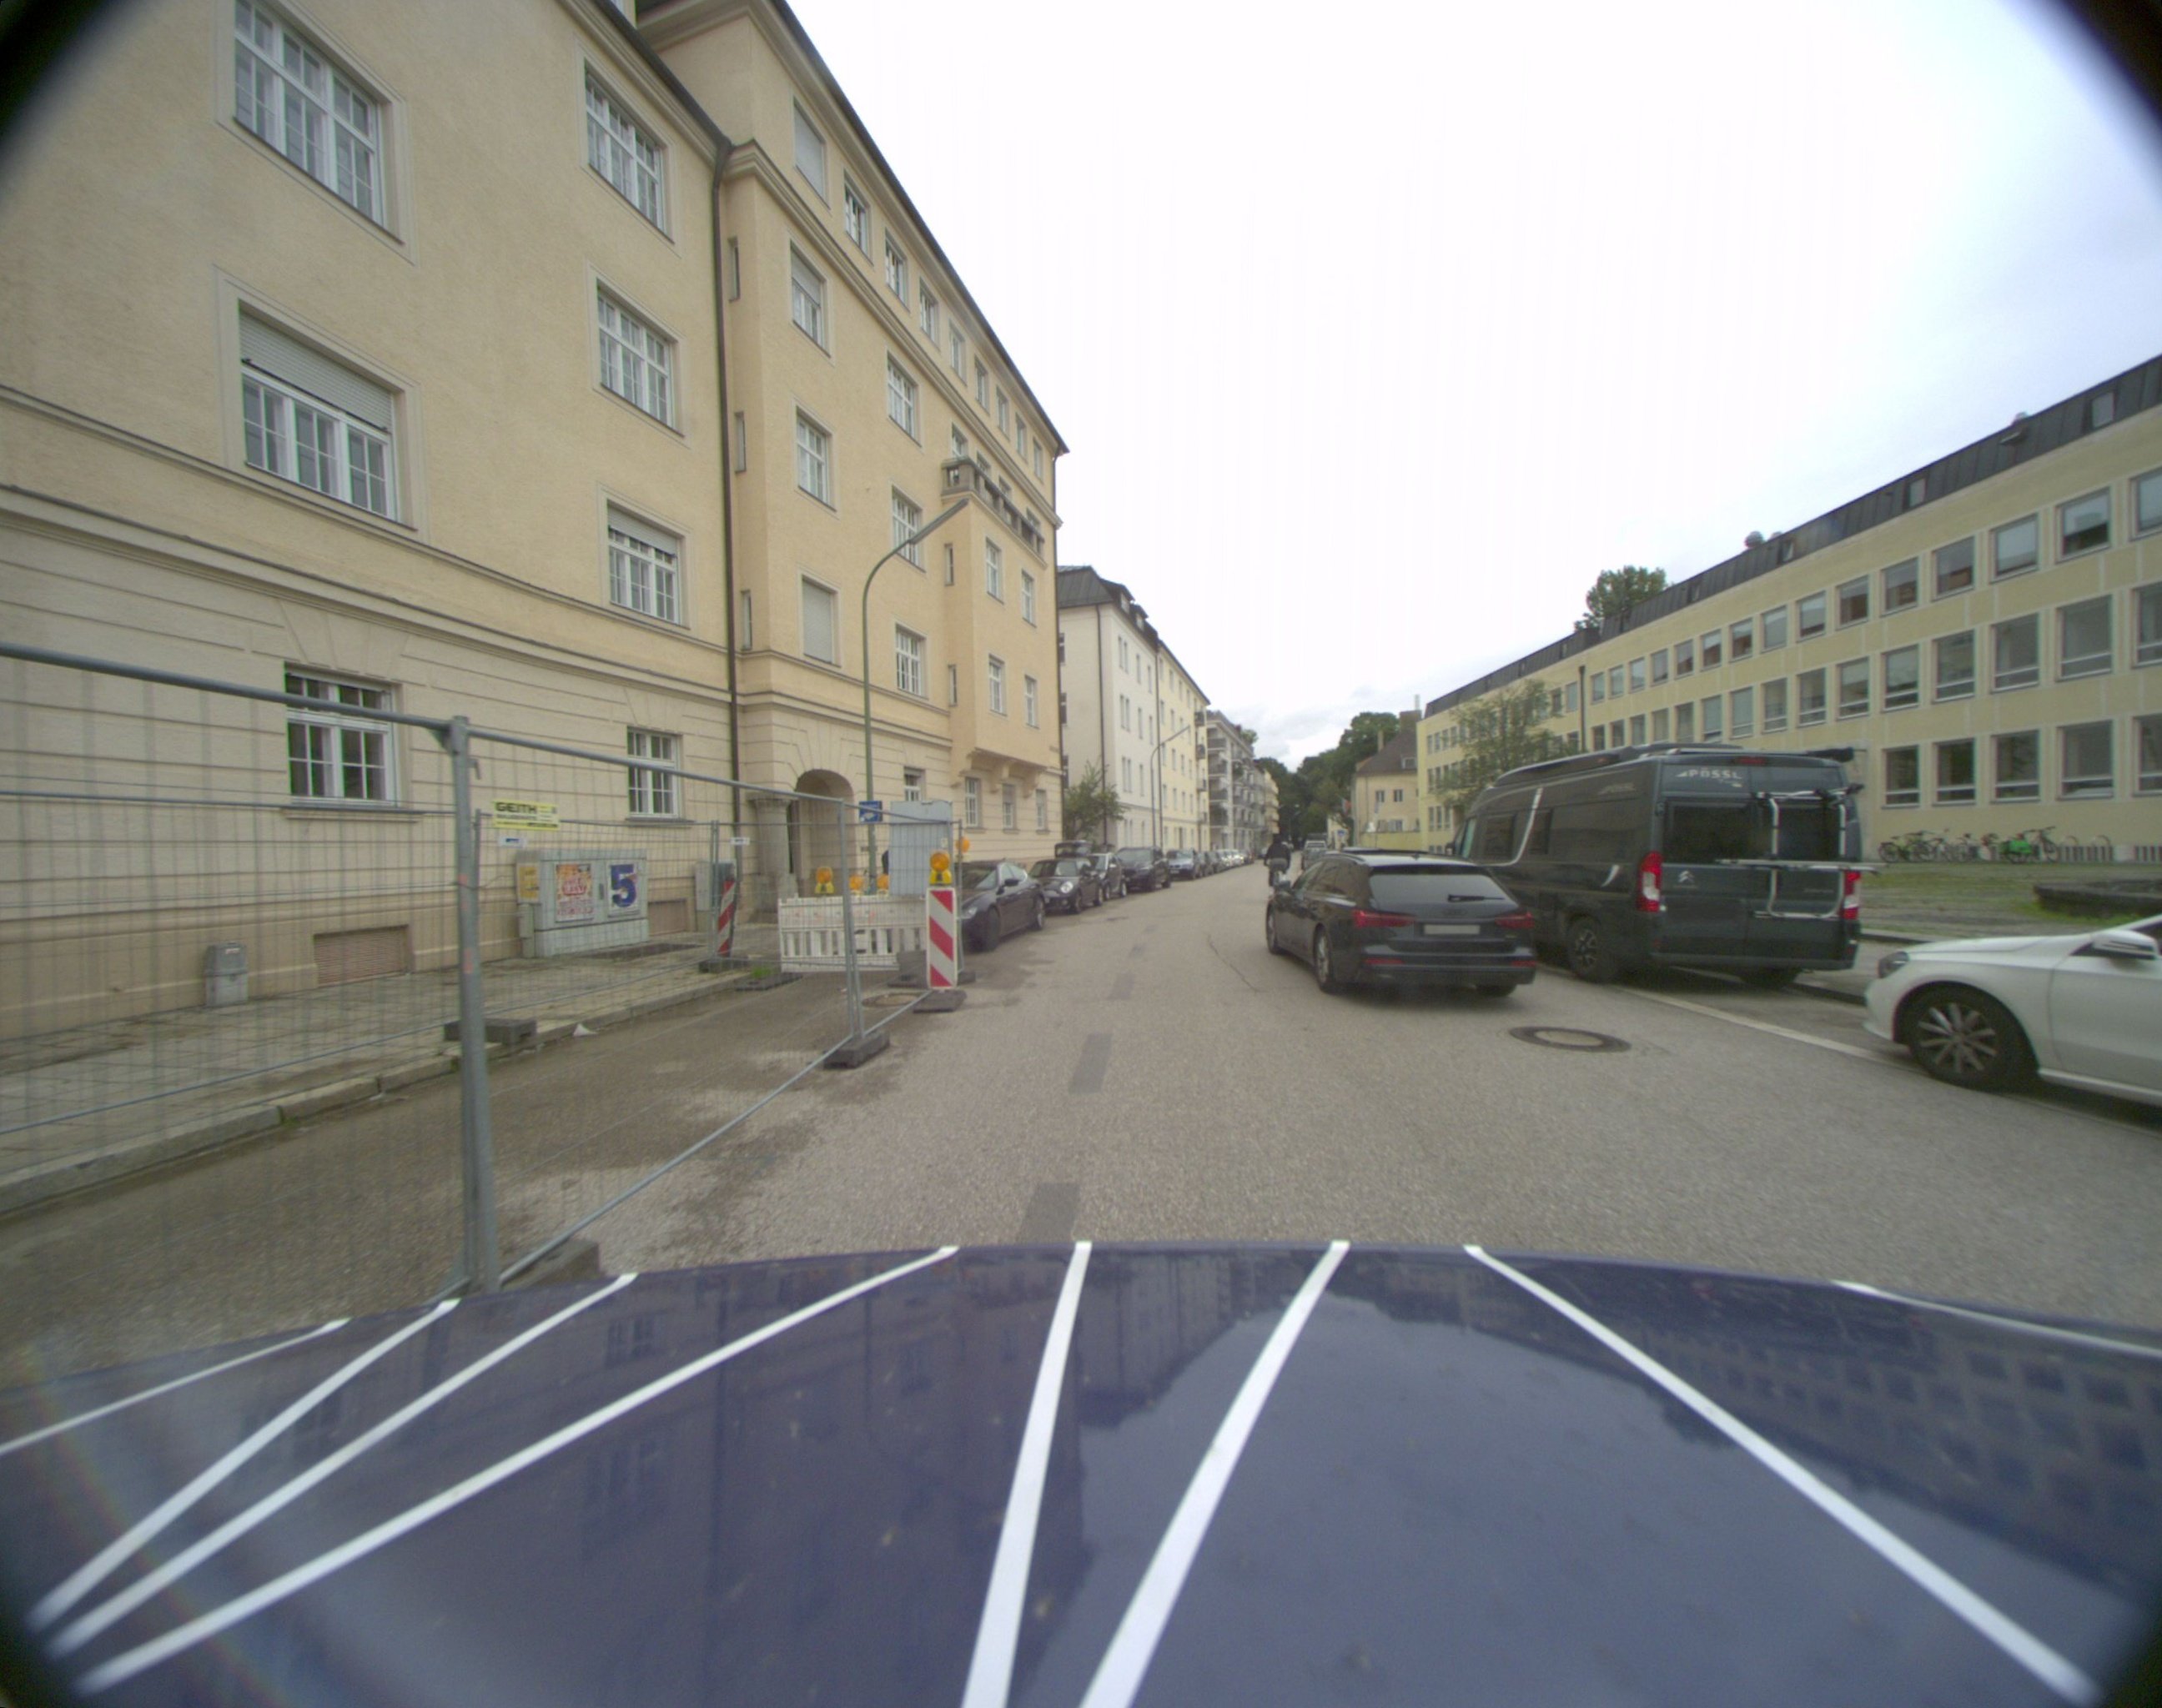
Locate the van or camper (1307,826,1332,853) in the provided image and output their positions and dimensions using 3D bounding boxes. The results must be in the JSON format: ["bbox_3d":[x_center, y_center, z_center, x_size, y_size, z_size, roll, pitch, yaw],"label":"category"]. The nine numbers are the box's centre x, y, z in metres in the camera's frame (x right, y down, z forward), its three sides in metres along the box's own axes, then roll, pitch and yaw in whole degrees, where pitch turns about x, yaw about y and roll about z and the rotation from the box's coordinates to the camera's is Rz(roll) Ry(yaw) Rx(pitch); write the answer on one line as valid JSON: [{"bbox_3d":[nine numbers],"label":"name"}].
[{"bbox_3d":[24.473,-1.497,77.809,2.295,2.636,5.568,1,1,19],"label":"van or camper"}]

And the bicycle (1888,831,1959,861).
[{"bbox_3d":[29.530,-0.290,26.650,1.862,0.939,0.414,-3,1,5],"label":"bicycle"}]

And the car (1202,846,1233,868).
[{"bbox_3d":[9.779,0.165,54.196,1.726,1.441,4.192,-2,0,16],"label":"car"}]

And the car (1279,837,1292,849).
[{"bbox_3d":[35.316,-1.861,131.140,1.856,2.019,4.789,-2,0,18],"label":"car"}]

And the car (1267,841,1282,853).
[{"bbox_3d":[26.999,-0.989,105.980,1.793,1.473,4.608,-3,1,17],"label":"car"}]

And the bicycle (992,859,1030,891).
[{"bbox_3d":[-2.458,0.726,26.937,0.502,1.043,2.140,2,2,19],"label":"bicycle"}]

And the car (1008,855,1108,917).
[{"bbox_3d":[-0.508,0.786,20.158,1.633,1.409,3.683,-2,0,14],"label":"car"}]

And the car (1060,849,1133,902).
[{"bbox_3d":[0.563,0.653,24.853,1.516,1.546,3.022,-2,0,18],"label":"car"}]

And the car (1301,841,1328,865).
[{"bbox_3d":[15.580,-0.078,50.602,1.633,1.486,3.824,0,1,17],"label":"car"}]

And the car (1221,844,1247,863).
[{"bbox_3d":[12.855,-0.046,63.669,1.727,1.421,4.298,-2,0,17],"label":"car"}]

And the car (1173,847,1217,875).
[{"bbox_3d":[6.680,0.367,44.237,1.830,1.441,4.089,-2,0,17],"label":"car"}]

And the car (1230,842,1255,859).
[{"bbox_3d":[14.683,-0.299,69.081,1.775,1.421,4.620,-2,0,17],"label":"car"}]

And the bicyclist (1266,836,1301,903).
[{"bbox_3d":[5.444,0.402,20.484,0.746,1.761,0.815,1,1,4],"label":"bicyclist"}]

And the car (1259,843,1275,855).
[{"bbox_3d":[23.383,-0.638,95.610,1.773,1.467,4.222,-2,0,16],"label":"car"}]

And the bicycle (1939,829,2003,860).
[{"bbox_3d":[29.652,-0.312,25.324,1.409,0.939,0.414,-3,1,12],"label":"bicycle"}]

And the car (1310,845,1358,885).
[{"bbox_3d":[10.187,0.412,30.829,1.633,1.486,3.607,1,1,15],"label":"car"}]

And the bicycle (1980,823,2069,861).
[{"bbox_3d":[29.601,-0.377,23.855,1.850,1.089,0.702,-3,1,1],"label":"bicycle"}]

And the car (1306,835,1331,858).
[{"bbox_3d":[20.448,-0.640,65.661,1.917,1.949,4.967,0,1,16],"label":"car"}]

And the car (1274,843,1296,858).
[{"bbox_3d":[21.436,-0.391,79.770,1.996,1.521,4.005,-2,0,18],"label":"car"}]

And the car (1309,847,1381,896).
[{"bbox_3d":[8.774,0.511,25.575,1.776,1.457,4.470,1,1,12],"label":"car"}]

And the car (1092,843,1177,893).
[{"bbox_3d":[2.240,0.477,30.039,2.172,1.729,5.030,-2,0,18],"label":"car"}]

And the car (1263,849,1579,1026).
[{"bbox_3d":[3.460,0.697,8.870,1.924,1.404,4.704,1,1,5],"label":"car"}]

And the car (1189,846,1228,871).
[{"bbox_3d":[8.350,0.277,49.437,1.878,1.441,4.683,-2,0,17],"label":"car"}]

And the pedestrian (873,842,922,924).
[{"bbox_3d":[-3.944,0.595,16.385,0.618,1.681,0.920,2,2,17],"label":"pedestrian"}]

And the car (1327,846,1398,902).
[{"bbox_3d":[8.042,0.525,21.893,1.521,1.457,2.889,1,1,12],"label":"car"}]

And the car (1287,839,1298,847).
[{"bbox_3d":[40.964,-2.135,147.185,1.769,1.607,4.268,-2,0,18],"label":"car"}]

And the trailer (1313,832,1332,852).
[{"bbox_3d":[31.505,-1.582,99.133,1.977,2.458,4.583,2,2,22],"label":"trailer"}]

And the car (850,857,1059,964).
[{"bbox_3d":[-1.995,0.873,13.785,1.911,1.469,4.951,-2,0,13],"label":"car"}]

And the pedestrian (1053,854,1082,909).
[{"bbox_3d":[-0.385,0.788,21.899,0.629,1.520,0.578,-2,1,16],"label":"pedestrian"}]

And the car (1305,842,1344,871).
[{"bbox_3d":[12.979,0.089,40.718,1.743,1.414,4.299,-2,0,15],"label":"car"}]

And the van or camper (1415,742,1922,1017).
[{"bbox_3d":[6.826,0.190,10.183,2.302,2.566,6.086,0,1,3],"label":"van or camper"}]

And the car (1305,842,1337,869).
[{"bbox_3d":[14.471,0.048,45.937,1.633,1.486,4.105,1,1,15],"label":"car"}]

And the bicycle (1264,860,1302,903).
[{"bbox_3d":[5.420,0.717,20.461,0.587,1.063,1.937,1,1,3],"label":"bicycle"}]

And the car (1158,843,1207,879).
[{"bbox_3d":[5.344,0.319,39.635,1.849,1.654,4.503,-2,1,16],"label":"car"}]

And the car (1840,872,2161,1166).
[{"bbox_3d":[6.525,0.889,3.387,1.999,1.442,4.214,1,1,-1],"label":"car"}]

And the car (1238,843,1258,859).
[{"bbox_3d":[16.274,-0.324,73.933,1.657,1.421,3.760,-2,0,17],"label":"car"}]

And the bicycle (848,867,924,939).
[{"bbox_3d":[-3.791,0.930,14.895,0.637,1.251,1.673,-2,1,16],"label":"bicycle"}]

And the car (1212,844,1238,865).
[{"bbox_3d":[11.275,0.001,59.262,1.653,1.535,3.997,-2,0,15],"label":"car"}]

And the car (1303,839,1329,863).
[{"bbox_3d":[17.252,-0.281,55.689,1.717,1.680,4.145,0,1,17],"label":"car"}]

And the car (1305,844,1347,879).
[{"bbox_3d":[11.188,0.273,34.855,1.633,1.486,4.279,0,1,15],"label":"car"}]

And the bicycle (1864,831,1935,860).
[{"bbox_3d":[29.509,-0.305,27.410,1.956,0.939,0.414,-3,1,5],"label":"bicycle"}]
